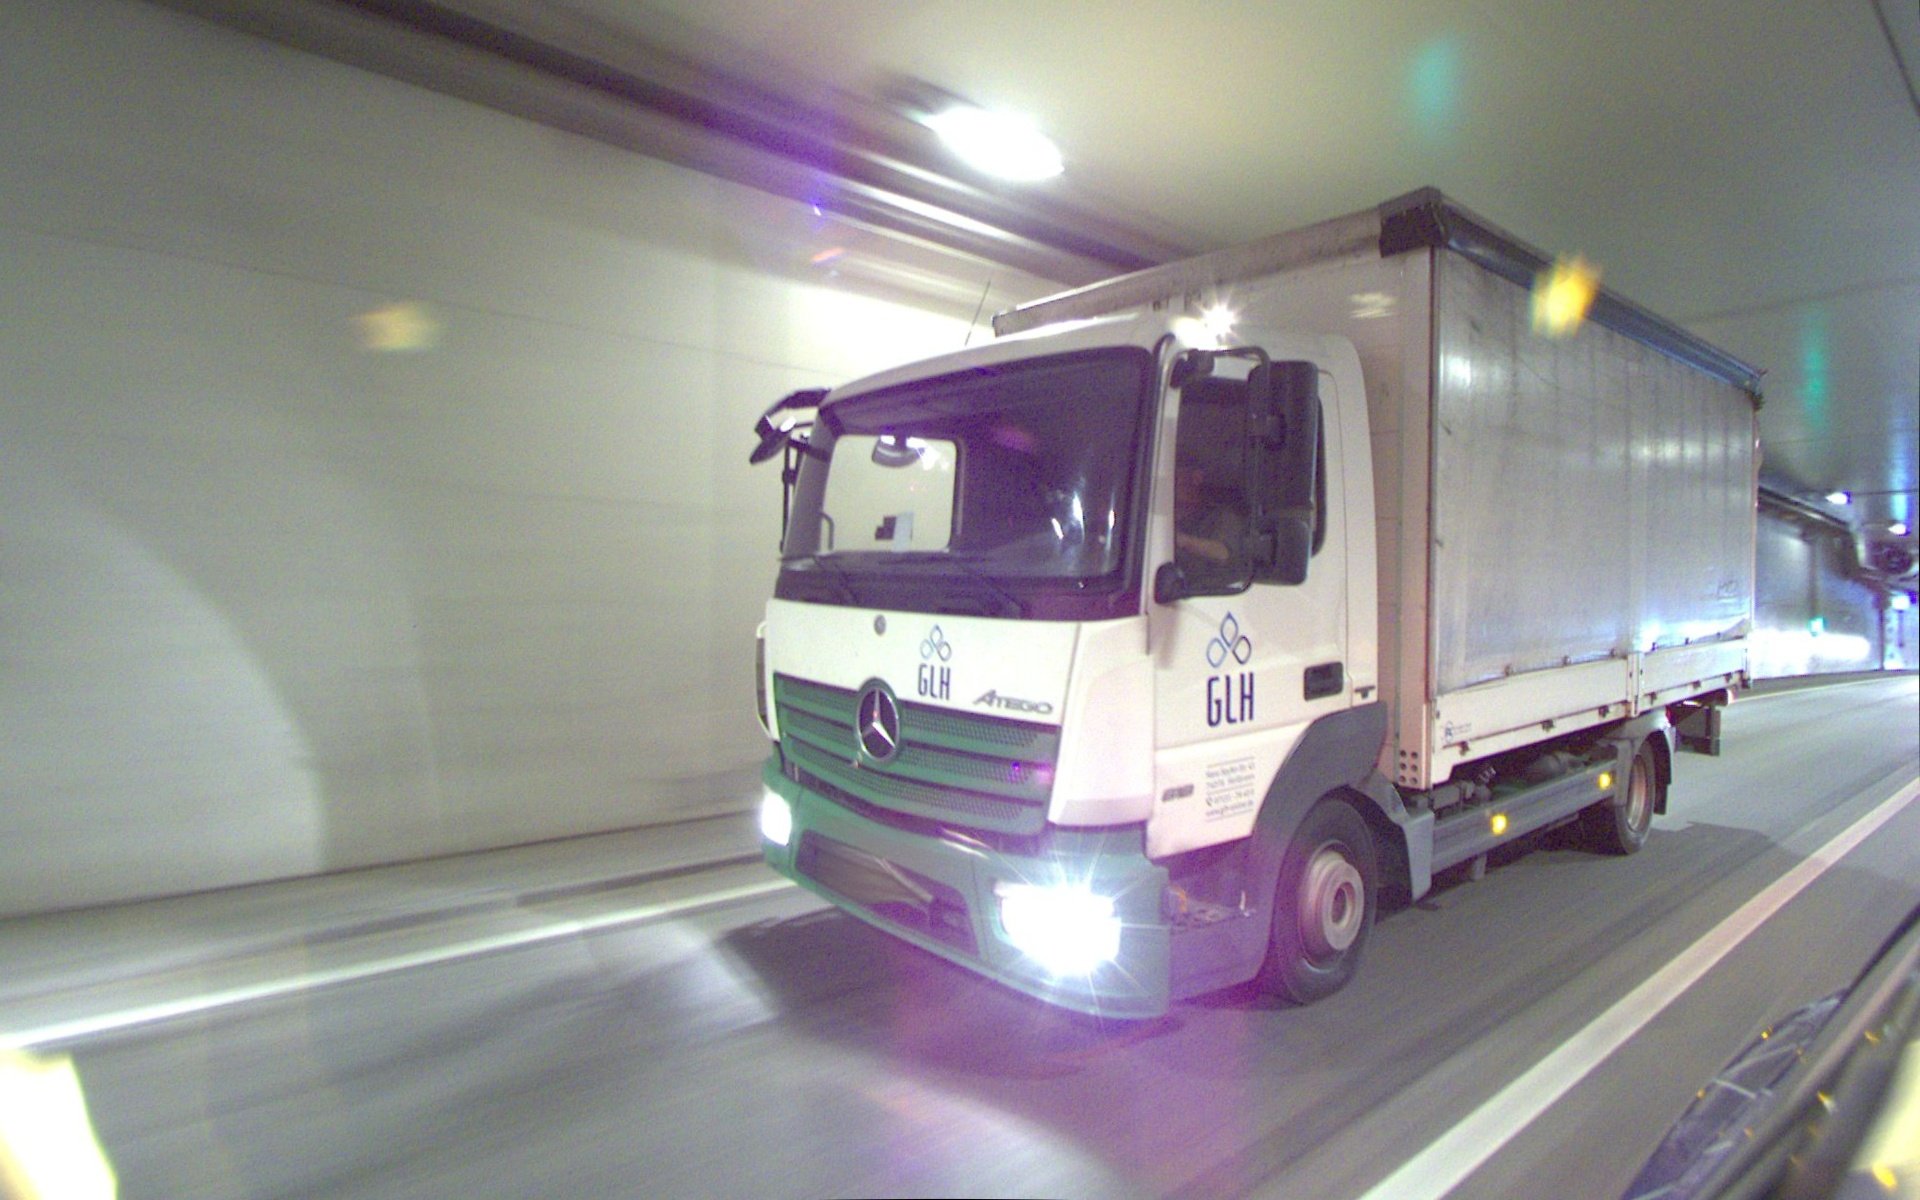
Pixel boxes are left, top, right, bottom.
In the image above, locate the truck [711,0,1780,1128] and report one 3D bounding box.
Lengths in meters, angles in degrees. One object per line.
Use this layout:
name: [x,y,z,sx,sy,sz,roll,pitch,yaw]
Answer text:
truck: [2.396,-0.193,5.983,7.116,3.221,2.558,1,0,-40]
